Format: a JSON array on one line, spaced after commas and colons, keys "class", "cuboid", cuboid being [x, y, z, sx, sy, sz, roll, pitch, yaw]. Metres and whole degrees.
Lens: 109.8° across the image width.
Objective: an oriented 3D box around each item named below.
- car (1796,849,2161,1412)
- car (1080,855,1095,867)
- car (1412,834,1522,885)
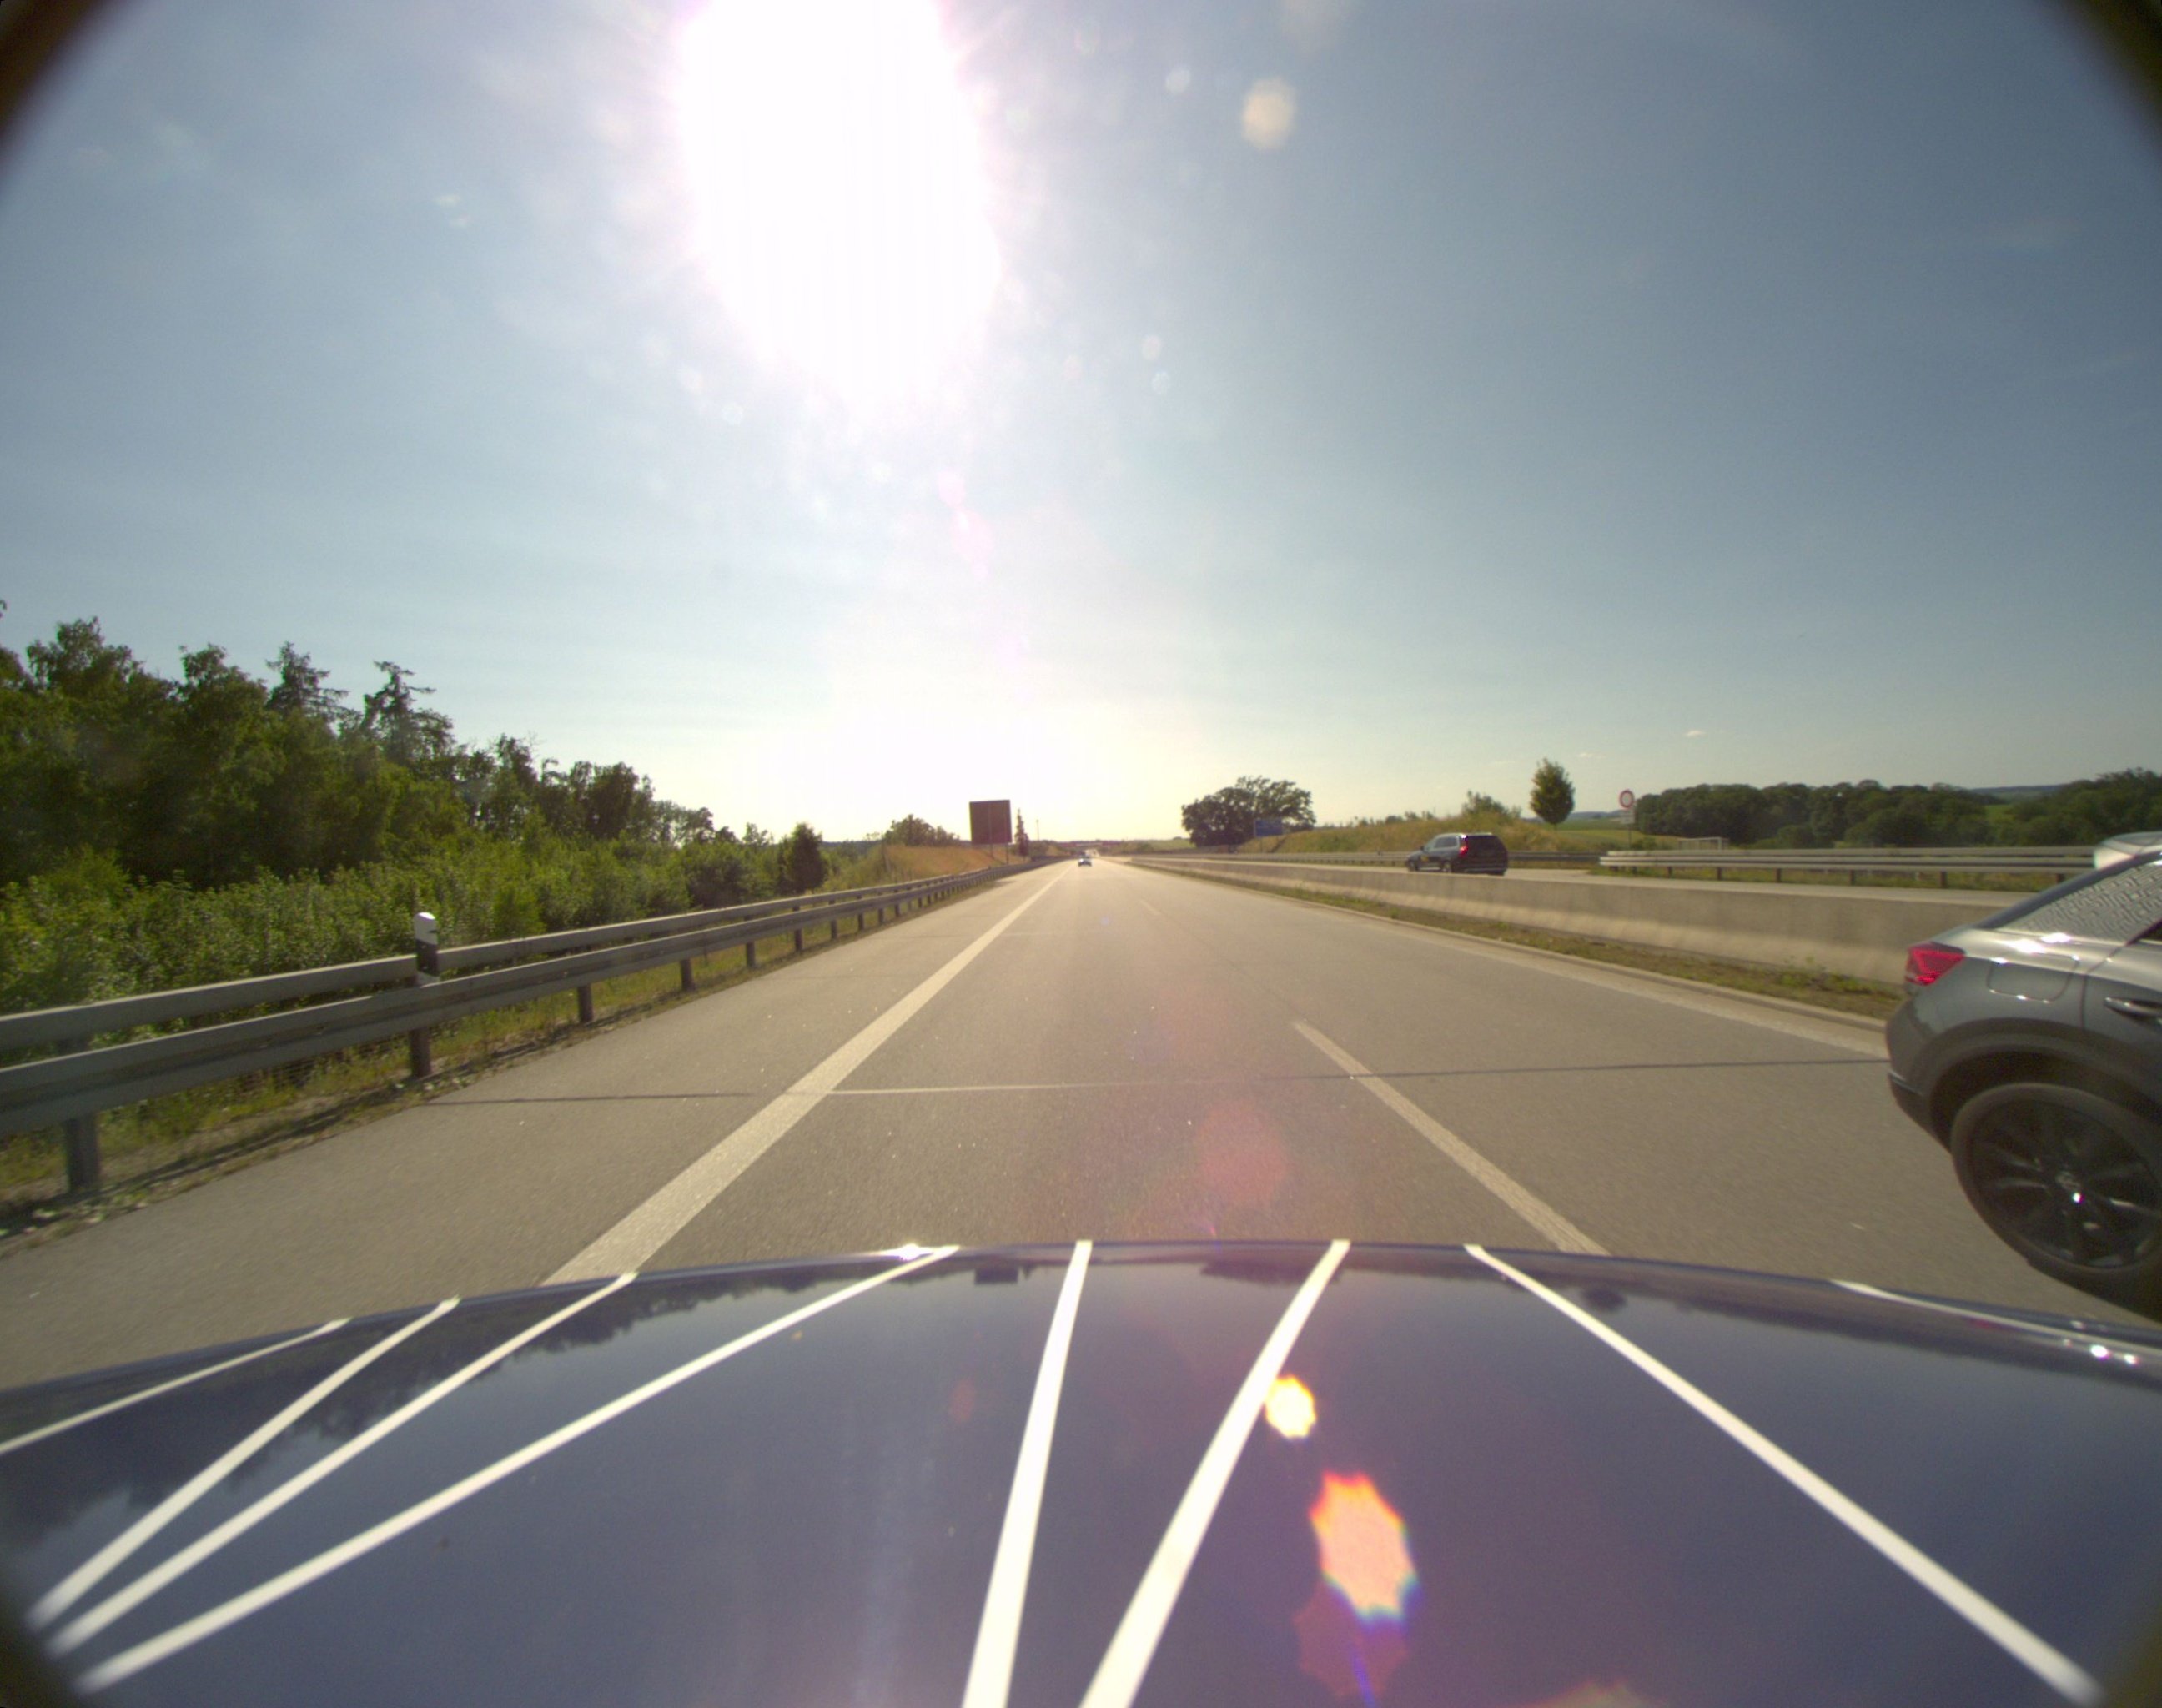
[{"class": "car", "cuboid": [3.951, 0.793, 0.751, 1.776, 1.560, 4.988, -2, 0, 0]}, {"class": "car", "cuboid": [0.933, 0.977, 107.518, 1.909, 1.449, 4.376, -2, 0, 2]}, {"class": "car", "cuboid": [14.241, 0.171, 28.342, 1.906, 1.682, 4.269, -2, 0, 0]}]
